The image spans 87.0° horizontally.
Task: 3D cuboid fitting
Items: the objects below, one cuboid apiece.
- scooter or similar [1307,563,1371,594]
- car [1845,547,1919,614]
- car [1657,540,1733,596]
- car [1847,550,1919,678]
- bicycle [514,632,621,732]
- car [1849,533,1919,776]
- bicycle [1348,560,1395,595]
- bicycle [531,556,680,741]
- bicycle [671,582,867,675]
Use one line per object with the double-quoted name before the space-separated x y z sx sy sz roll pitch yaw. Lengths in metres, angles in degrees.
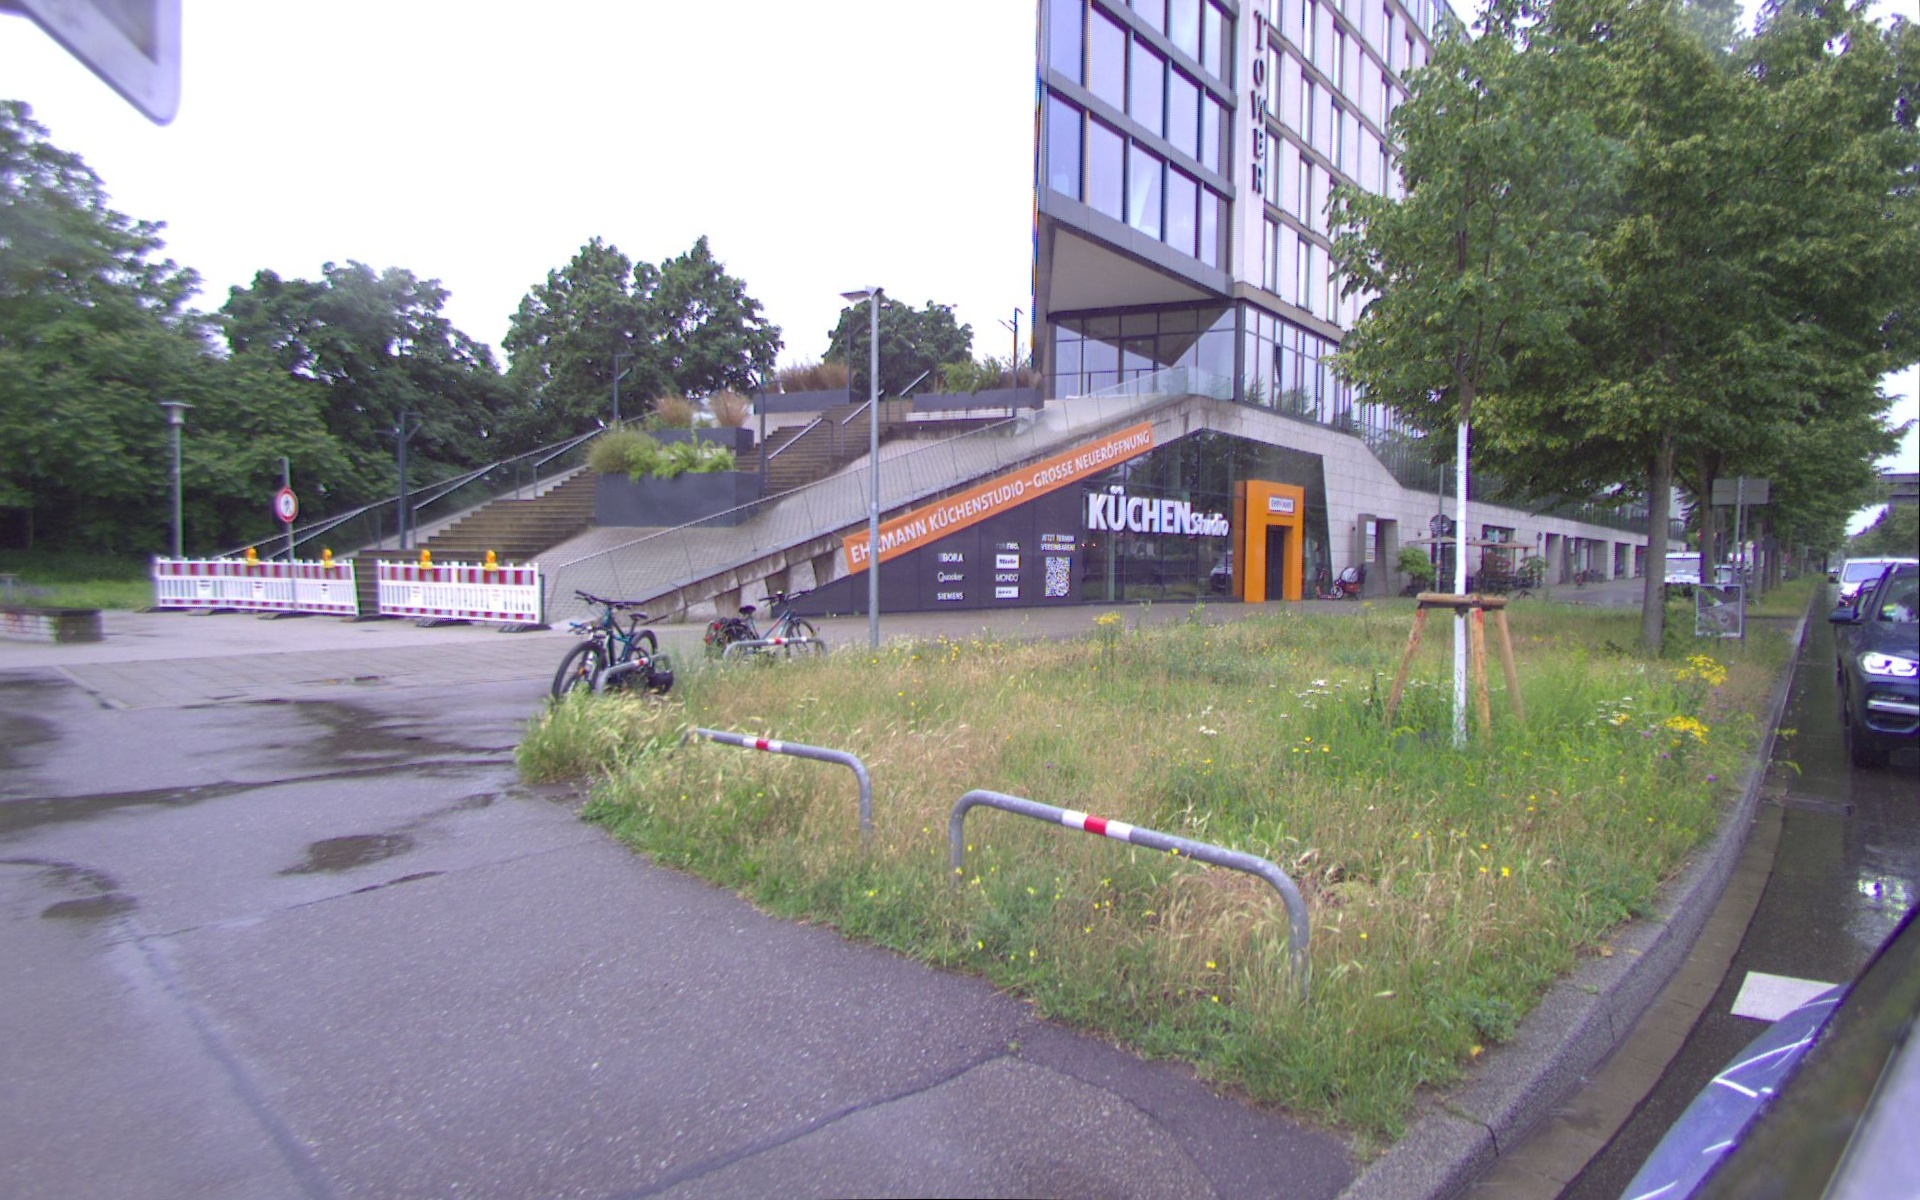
"scooter or similar" 14.379 -0.807 38.397 2.562 1.113 0.813 -2 1 -30
"car" 24.974 -0.548 27.160 1.782 1.668 3.940 -1 1 42
"car" 31.379 -1.341 43.143 2.078 2.229 5.021 -1 1 42
"car" 14.919 0.131 15.528 1.910 1.768 4.317 -1 1 42
"bicycle" -2.967 0.584 7.774 0.314 0.565 1.805 0 2 -6
"car" 8.865 0.333 8.600 1.910 1.768 4.317 -1 1 42
"bicycle" 16.498 -0.922 40.573 0.879 1.364 2.656 -1 1 42
"bicycle" -2.662 0.278 7.862 0.542 1.204 2.529 0 2 -6
"bicycle" -1.956 0.254 10.673 0.633 0.857 2.133 2 2 39
